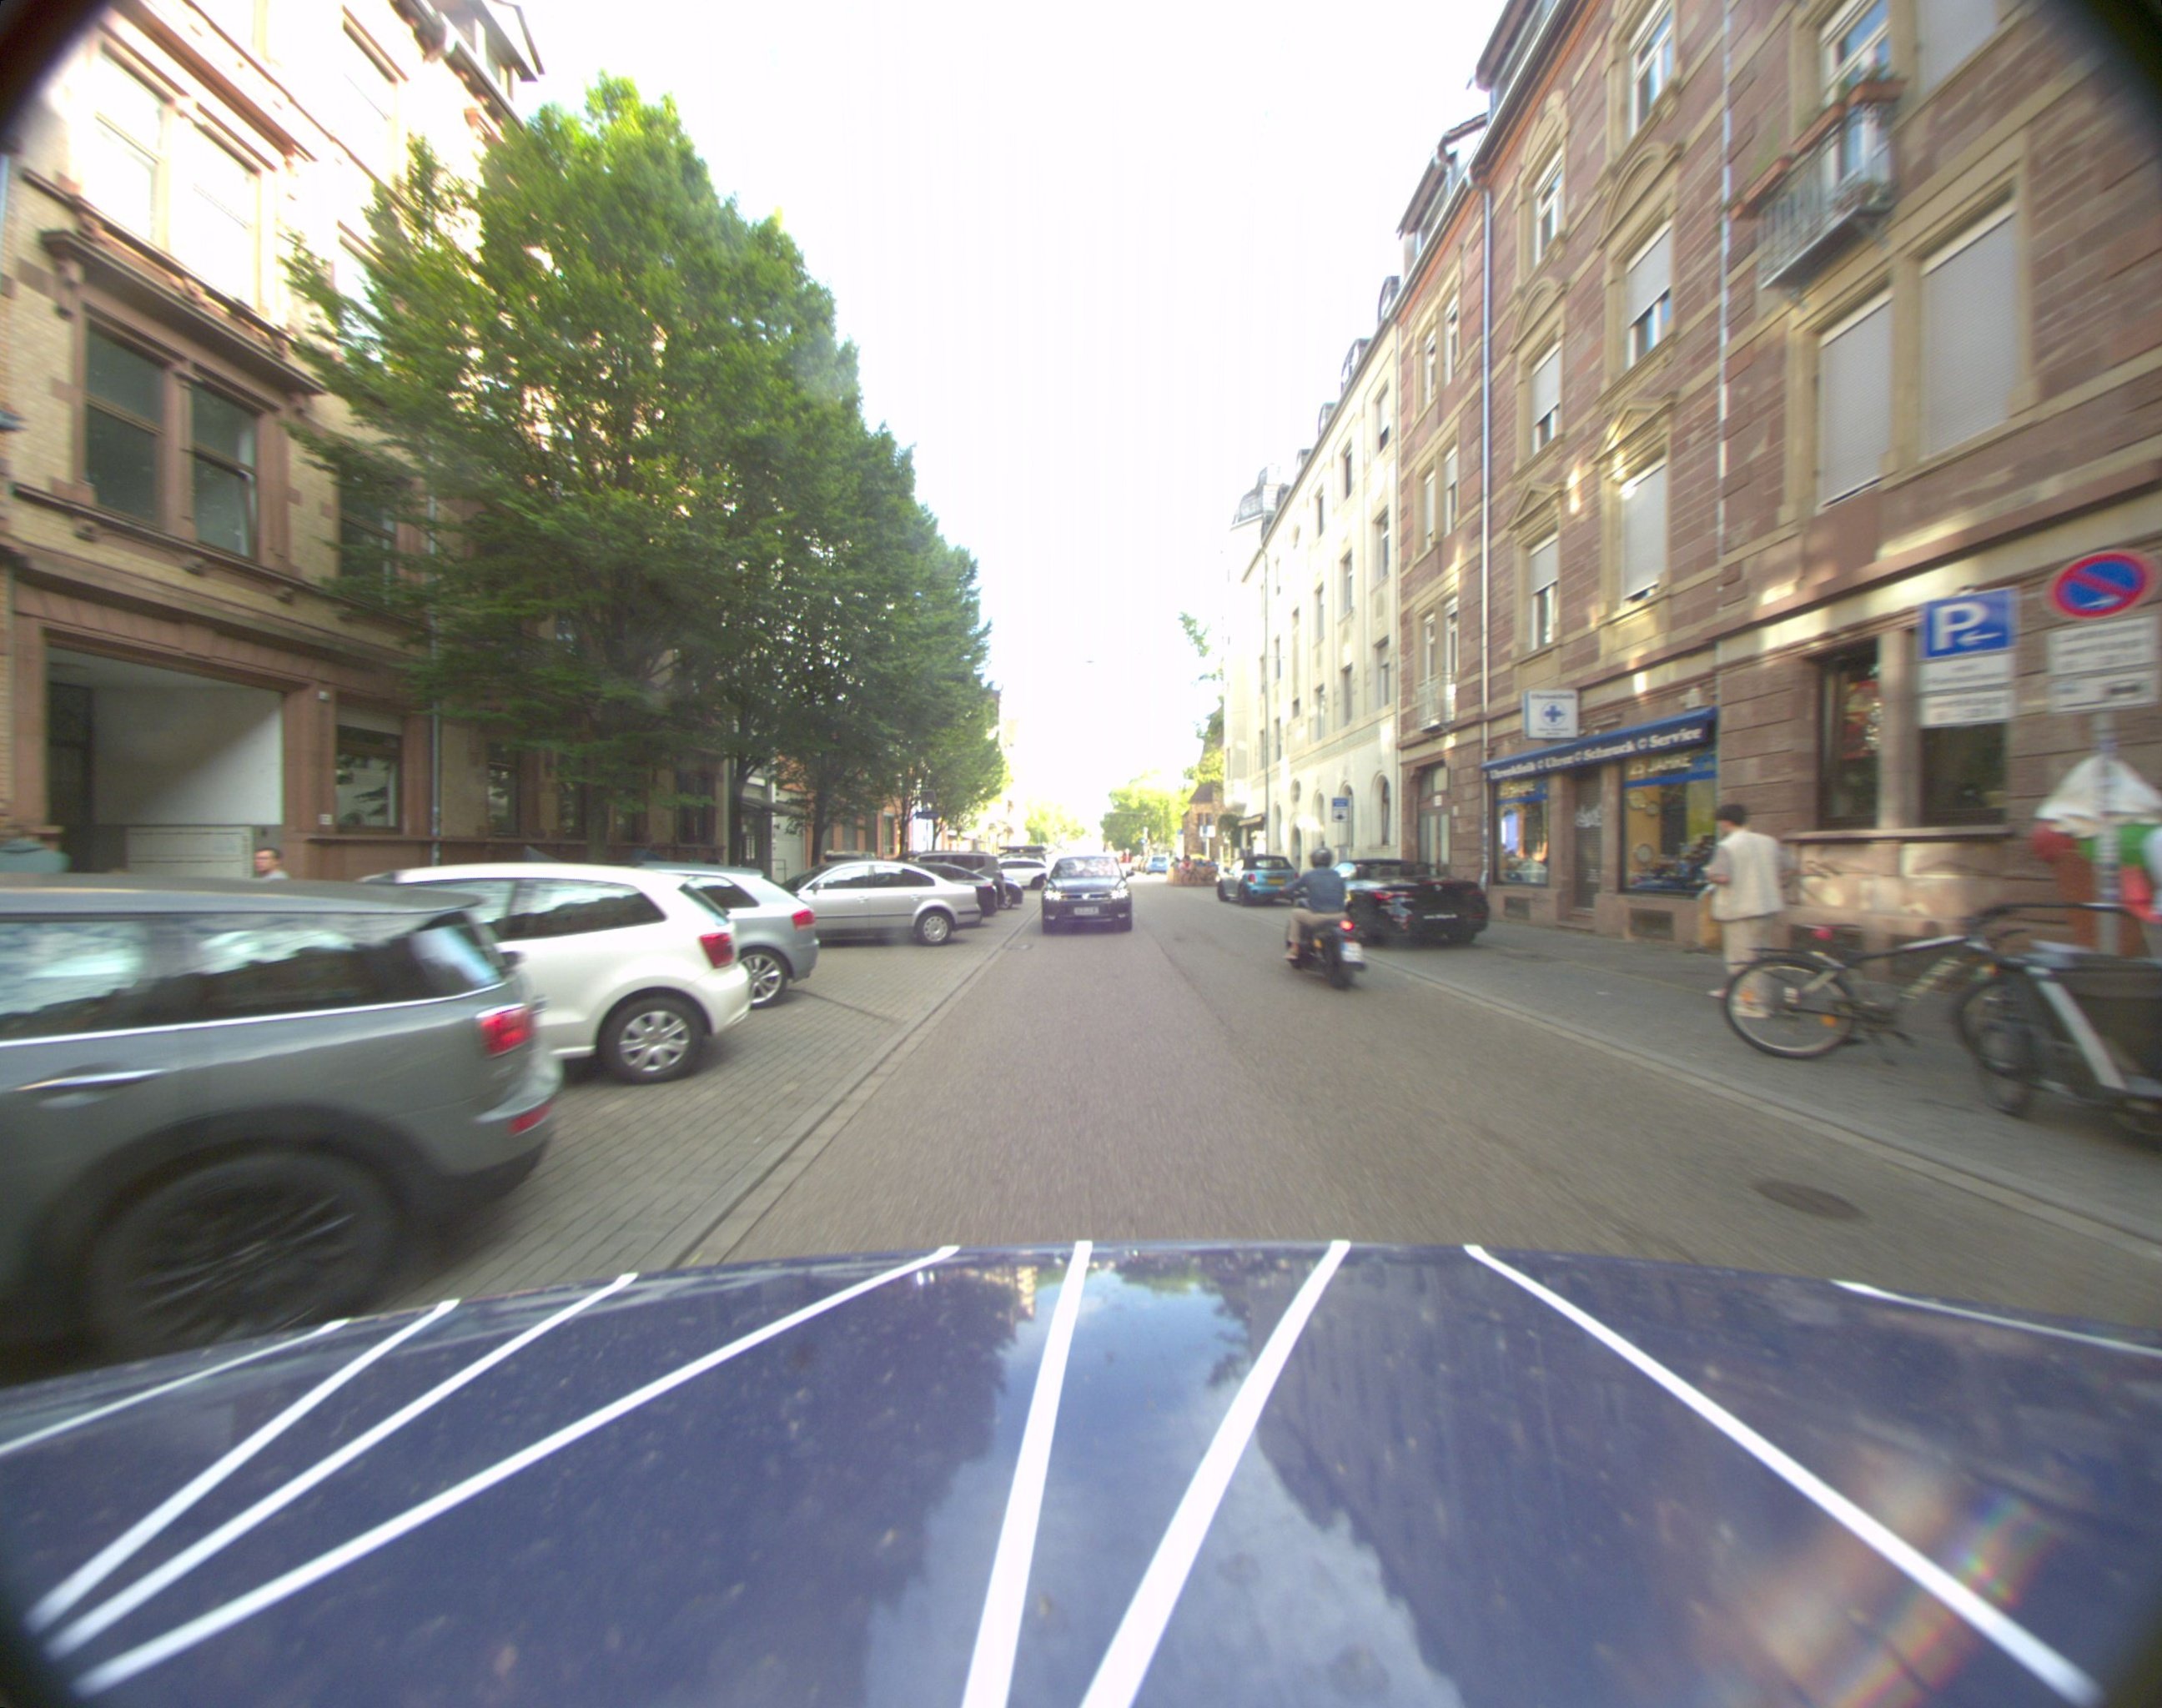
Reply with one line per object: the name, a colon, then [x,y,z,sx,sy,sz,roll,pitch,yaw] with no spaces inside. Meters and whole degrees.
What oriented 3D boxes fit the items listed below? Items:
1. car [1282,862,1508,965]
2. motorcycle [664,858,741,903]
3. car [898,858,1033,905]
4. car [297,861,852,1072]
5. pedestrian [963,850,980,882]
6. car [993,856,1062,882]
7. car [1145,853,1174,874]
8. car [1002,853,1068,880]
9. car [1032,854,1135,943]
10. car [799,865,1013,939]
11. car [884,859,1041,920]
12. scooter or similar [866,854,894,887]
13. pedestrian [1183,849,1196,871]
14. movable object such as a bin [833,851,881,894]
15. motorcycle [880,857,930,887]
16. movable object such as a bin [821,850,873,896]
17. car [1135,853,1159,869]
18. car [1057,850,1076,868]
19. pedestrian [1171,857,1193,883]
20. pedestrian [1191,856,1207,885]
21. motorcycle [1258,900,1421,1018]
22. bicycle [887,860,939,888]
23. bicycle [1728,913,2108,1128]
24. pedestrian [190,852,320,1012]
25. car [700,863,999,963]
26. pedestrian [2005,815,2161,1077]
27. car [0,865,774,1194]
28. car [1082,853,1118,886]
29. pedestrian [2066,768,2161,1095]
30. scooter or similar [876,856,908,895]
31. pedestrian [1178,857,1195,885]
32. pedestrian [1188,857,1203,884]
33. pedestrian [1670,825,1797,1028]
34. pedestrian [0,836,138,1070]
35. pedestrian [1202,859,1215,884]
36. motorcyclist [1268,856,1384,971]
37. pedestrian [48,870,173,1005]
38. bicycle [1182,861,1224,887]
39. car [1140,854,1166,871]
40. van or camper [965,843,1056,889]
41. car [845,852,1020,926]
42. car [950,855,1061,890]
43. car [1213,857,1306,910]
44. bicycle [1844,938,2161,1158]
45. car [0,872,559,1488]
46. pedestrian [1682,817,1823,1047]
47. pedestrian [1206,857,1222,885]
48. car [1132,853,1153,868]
car: [5.106,0.864,13.257,1.816,1.343,5.115,-1,0,0]
motorcycle: [-10.647,0.711,21.497,0.896,1.180,2.491,-2,0,0]
car: [-3.767,0.886,24.872,4.006,1.430,1.721,2,0,-26]
car: [-4.546,0.868,7.406,4.008,1.453,1.882,2,1,-35]
pedestrian: [-6.066,0.660,42.144,0.754,1.728,0.952,3,0,-3]
car: [-3.463,0.947,49.323,4.006,1.499,1.995,-2,0,-31]
car: [6.068,0.710,59.158,1.828,1.477,4.170,-2,0,1]
car: [-3.128,0.853,52.011,4.006,1.663,1.923,-2,0,-31]
car: [0.194,0.858,16.784,1.874,1.644,4.388,-1,0,5]
car: [-3.738,0.946,16.475,4.145,1.409,1.864,0,-1,-34]
car: [-3.418,0.967,22.230,4.133,1.512,1.840,-2,1,-35]
scooter or similar: [-8.680,0.714,32.795,0.526,1.306,1.317,3,1,-44]
pedestrian: [8.391,0.461,58.827,0.845,1.699,0.879,-1,1,1]
movable object such as a bin: [-8.246,0.668,28.015,1.375,1.438,1.037,5,0,-1]
motorcycle: [-7.908,0.800,34.166,1.984,1.220,0.827,3,0,-1]
movable object such as a bin: [-8.260,0.663,26.891,1.375,1.451,1.164,7,0,-1]
car: [6.214,0.684,71.753,1.911,1.412,4.000,-2,0,1]
car: [-1.533,0.532,83.876,1.810,1.914,4.001,-2,0,2]
pedestrian: [5.335,0.839,39.974,1.088,1.365,0.895,-1,1,9]
pedestrian: [5.726,0.806,36.785,0.689,1.365,0.739,-1,1,5]
motorcycle: [2.845,1.107,8.744,0.796,0.989,2.498,-2,0,-5]
bicycle: [-7.367,0.855,33.347,2.025,1.089,0.820,4,1,0]
bicycle: [5.166,0.969,4.833,1.577,1.110,0.375,-1,1,40]
pedestrian: [-8.350,0.736,7.727,0.721,1.493,1.001,0,0,-37]
car: [-3.920,0.926,13.127,4.620,1.443,1.788,2,0,-31]
pedestrian: [7.268,0.611,5.397,0.688,1.749,0.667,-1,1,31]
car: [-4.315,0.897,4.969,4.008,1.442,1.731,3,1,-31]
car: [1.064,0.826,41.273,1.810,1.622,4.001,-2,0,2]
pedestrian: [6.938,0.472,4.817,0.643,2.002,0.631,-1,1,29]
scooter or similar: [-6.975,0.776,28.068,0.524,1.372,1.323,-1,0,15]
pedestrian: [5.187,0.850,37.373,0.738,1.341,0.644,-1,1,4]
pedestrian: [5.742,0.819,38.161,0.668,1.328,0.740,-1,1,8]
pedestrian: [5.987,0.631,7.013,0.761,1.749,0.667,-1,1,31]
pedestrian: [-7.893,0.684,5.634,0.733,1.625,0.833,1,1,-1]
pedestrian: [6.362,0.875,38.044,0.597,1.236,0.694,-1,1,8]
motorcyclist: [2.803,0.655,8.766,1.016,1.238,0.802,-2,1,-5]
pedestrian: [-9.868,0.814,7.755,0.571,1.273,0.718,-3,2,-37]
bicycle: [5.708,0.934,35.702,1.872,1.168,0.688,-1,1,3]
car: [6.170,0.708,65.217,1.911,1.412,4.000,-2,0,1]
van or camper: [-3.546,0.578,38.232,4.006,2.166,1.995,-2,0,-29]
car: [-3.752,0.828,19.404,4.007,1.689,1.848,0,-1,-34]
car: [-3.512,0.878,35.691,4.817,1.535,1.866,2,0,-31]
car: [5.249,0.820,22.858,1.674,1.407,4.011,-2,0,-2]
bicycle: [5.242,0.994,4.009,1.683,1.024,0.410,-1,1,21]
car: [-4.013,0.843,2.231,4.008,1.539,1.864,2,-1,-36]
pedestrian: [5.643,0.616,6.432,0.761,1.808,0.667,-1,1,31]
pedestrian: [6.410,0.814,36.670,0.637,1.364,0.684,-1,1,5]
car: [6.377,0.652,78.720,1.911,1.412,4.000,-2,0,1]
